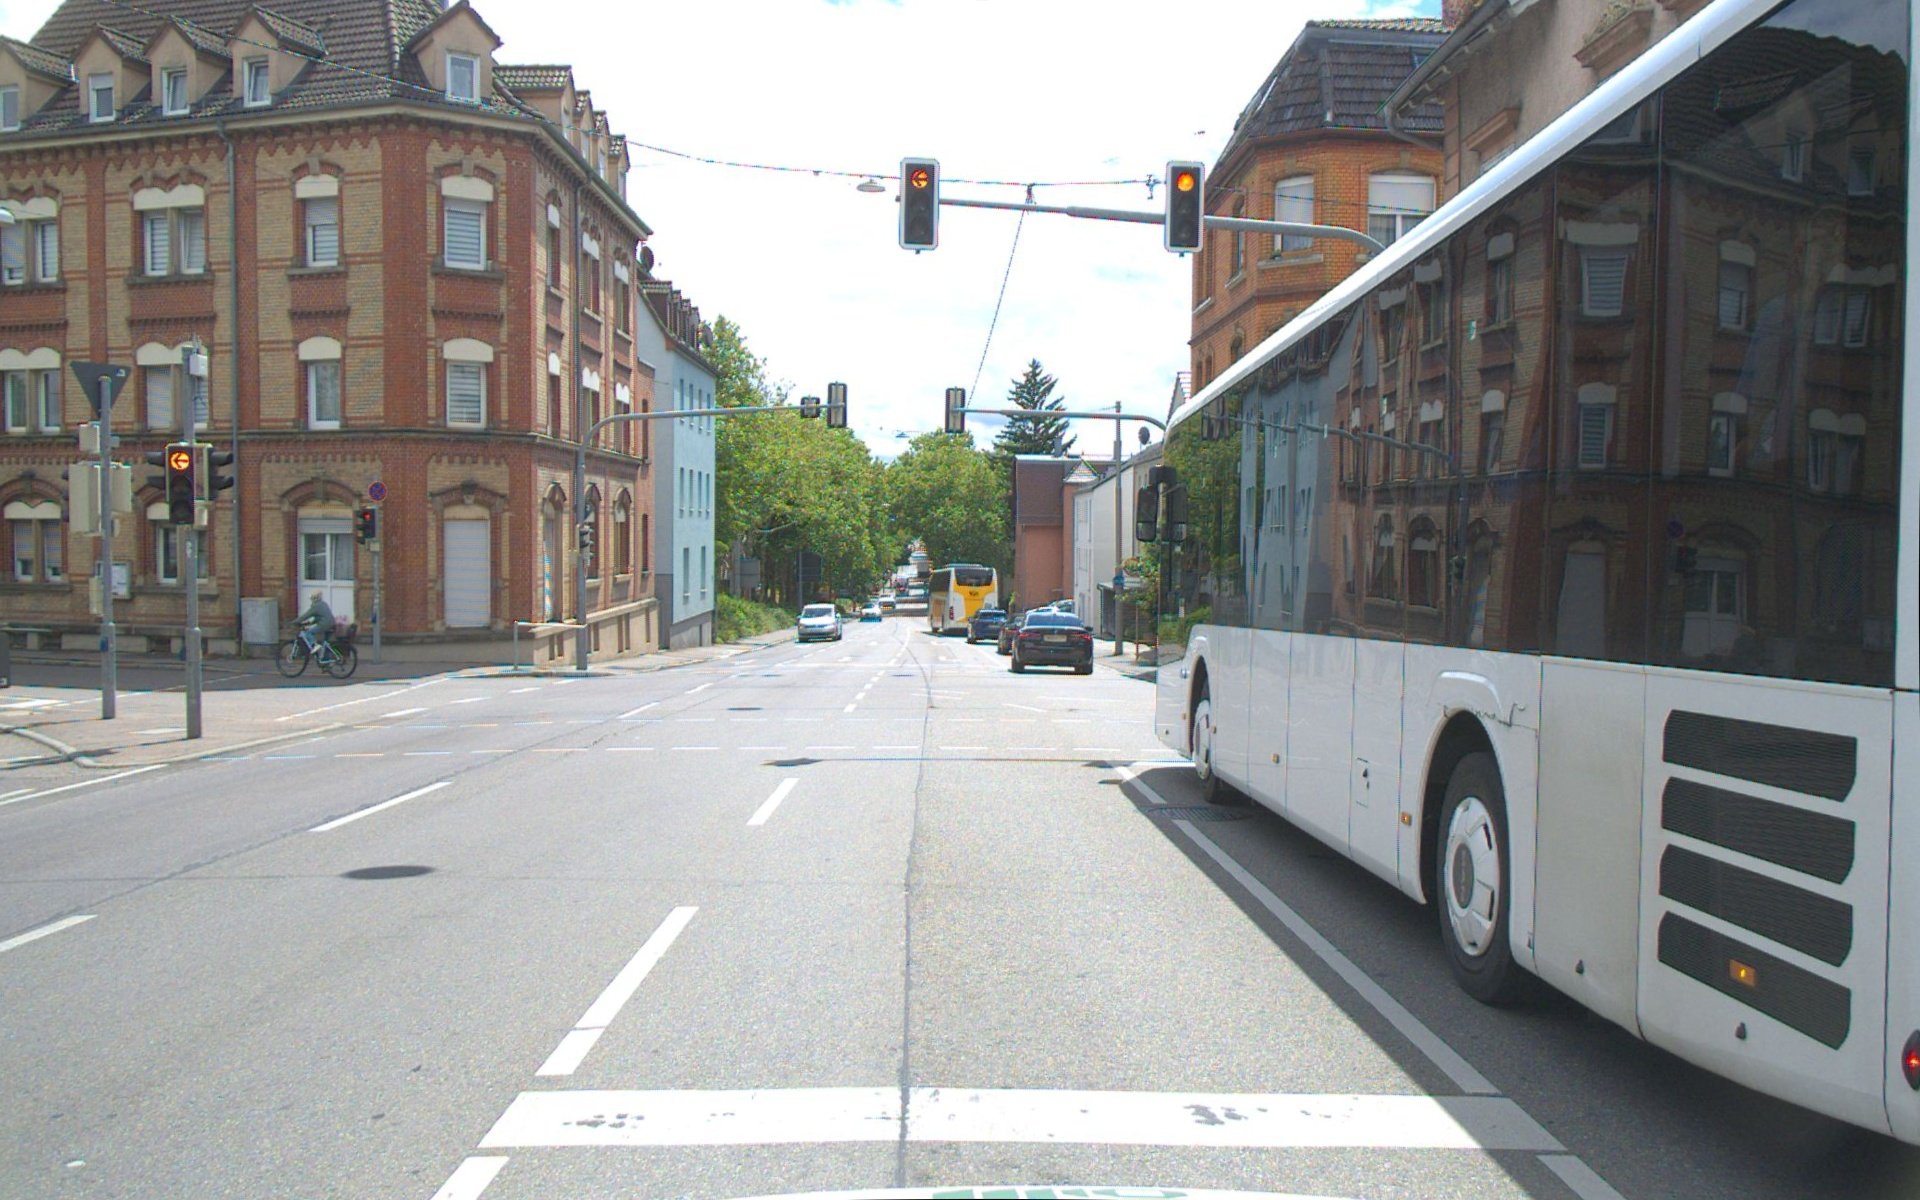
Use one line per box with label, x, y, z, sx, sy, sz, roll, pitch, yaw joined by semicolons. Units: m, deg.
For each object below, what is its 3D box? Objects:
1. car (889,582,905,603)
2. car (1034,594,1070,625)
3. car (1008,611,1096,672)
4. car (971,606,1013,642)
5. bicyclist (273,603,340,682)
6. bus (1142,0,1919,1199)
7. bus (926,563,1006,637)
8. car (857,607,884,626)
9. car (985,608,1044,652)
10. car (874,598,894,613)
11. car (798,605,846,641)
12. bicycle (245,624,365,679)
car;-9.643;-1.069;253.478;2.097;3.124;5.626;1;0;0
car;5.161;0.542;93.371;1.731;1.695;3.999;0;0;-1
car;2.080;0.921;38.324;1.761;1.298;3.999;-1;0;-1
car;1.311;0.971;68.832;1.576;1.400;3.999;0;0;-1
bicyclist;-12.736;0.819;32.261;1.048;1.526;0.590;0;0;7
bus;3.252;-0.212;9.301;2.845;3.571;12.484;1;0;-1
bus;0.186;-0.021;89.024;3.236;3.694;11.232;-1;0;-5
car;-6.837;1.220;126.624;1.827;1.391;4.546;0;0;-1
car;1.835;1.006;57.087;1.827;1.391;4.546;0;0;-1
car;-8.547;0.583;186.301;2.162;1.641;4.546;0;0;-1
car;-6.360;1.020;76.394;1.896;1.591;4.388;0;0;-1
bicycle;-12.781;1.004;32.270;2.138;1.037;0.606;0;0;7
